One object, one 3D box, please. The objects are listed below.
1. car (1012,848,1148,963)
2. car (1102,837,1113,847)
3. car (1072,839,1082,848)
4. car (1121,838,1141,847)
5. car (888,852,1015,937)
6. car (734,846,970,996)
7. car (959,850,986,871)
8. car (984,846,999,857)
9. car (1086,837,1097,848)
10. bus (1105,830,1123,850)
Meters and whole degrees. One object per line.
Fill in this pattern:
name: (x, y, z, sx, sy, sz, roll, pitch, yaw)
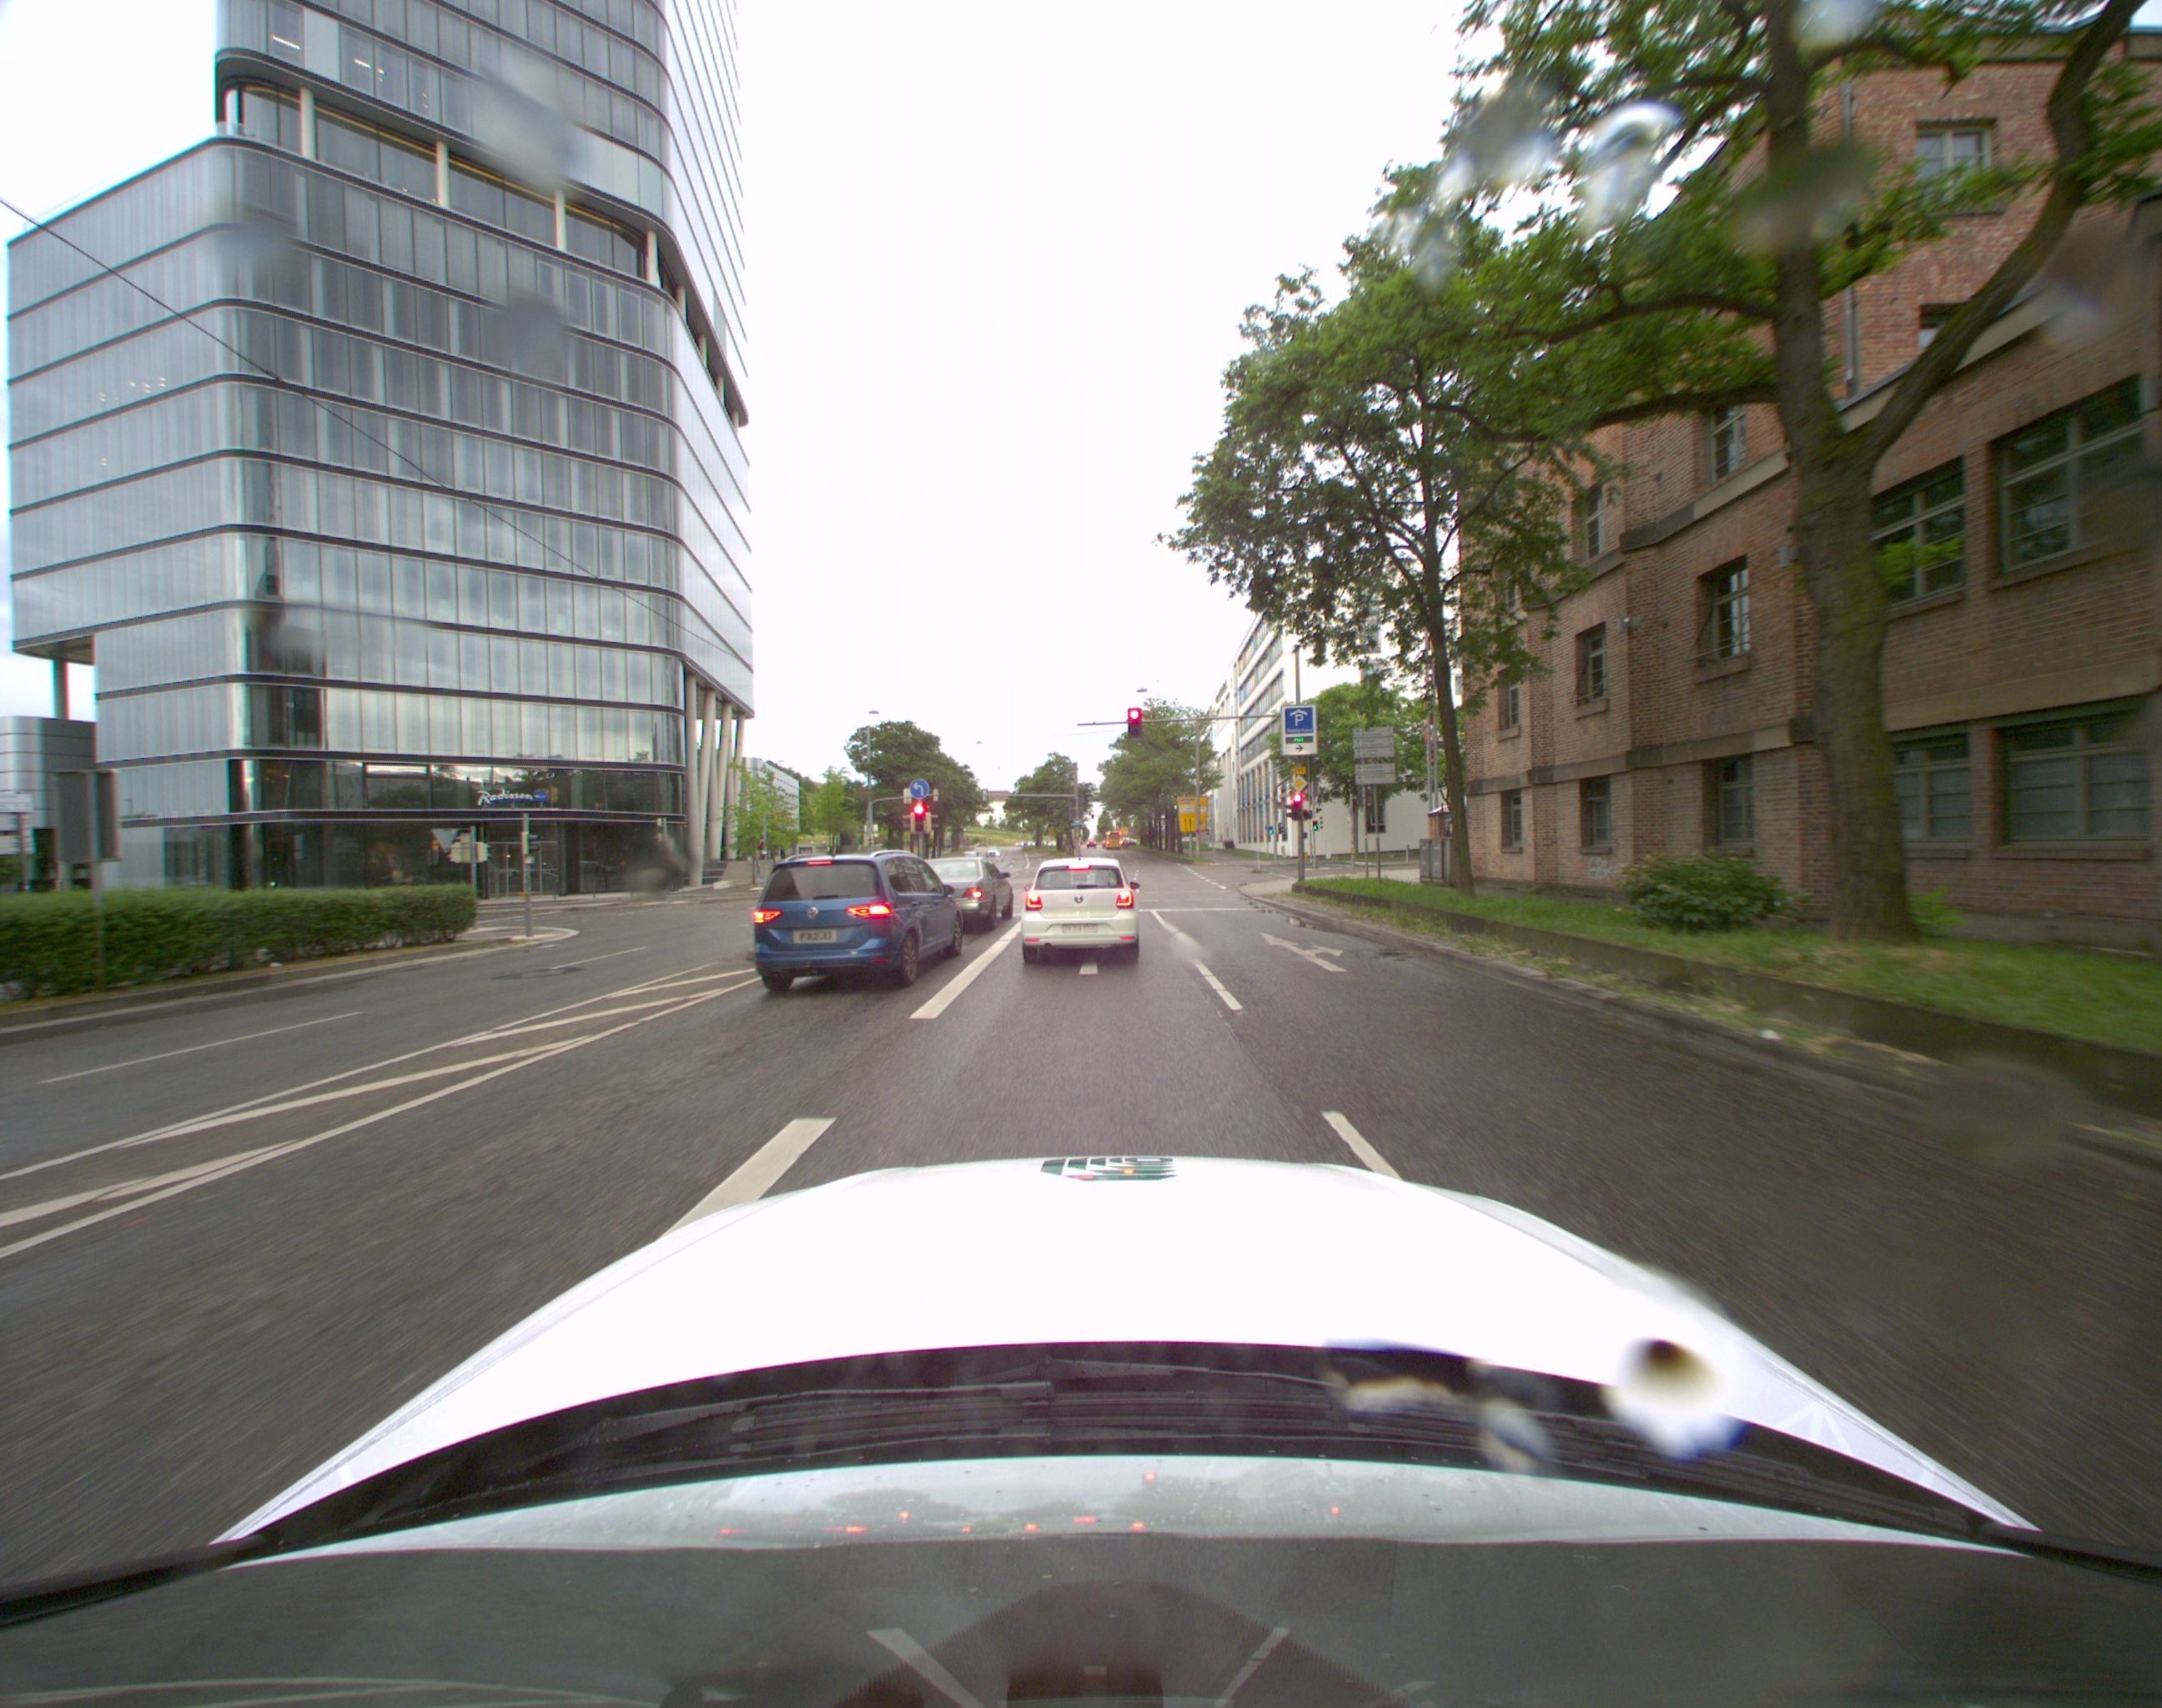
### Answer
car: (0.027, 0.678, 12.873, 1.788, 1.502, 4.001, -1, 0, 1)
car: (5.090, -2.323, 159.195, 1.987, 2.013, 3.999, -2, 0, 0)
car: (-0.756, -2.010, 160.023, 1.789, 1.741, 3.998, -3, 0, -1)
car: (9.743, -2.215, 158.121, 1.679, 1.515, 3.850, -2, 0, 45)
car: (-2.622, 0.765, 17.498, 1.839, 1.510, 4.051, -3, 0, 2)
car: (-2.827, 0.736, 11.119, 1.765, 1.596, 4.201, -2, 0, 3)
car: (-8.767, 0.517, 66.141, 1.746, 1.520, 3.813, -3, 1, -3)
car: (-12.858, -0.431, 117.063, 1.810, 1.411, 4.651, -3, 1, -3)
car: (1.993, -2.267, 158.232, 1.987, 2.013, 3.999, -2, 0, 0)
bus: (5.792, -2.536, 145.668, 2.819, 3.266, 9.999, -1, 1, 0)
